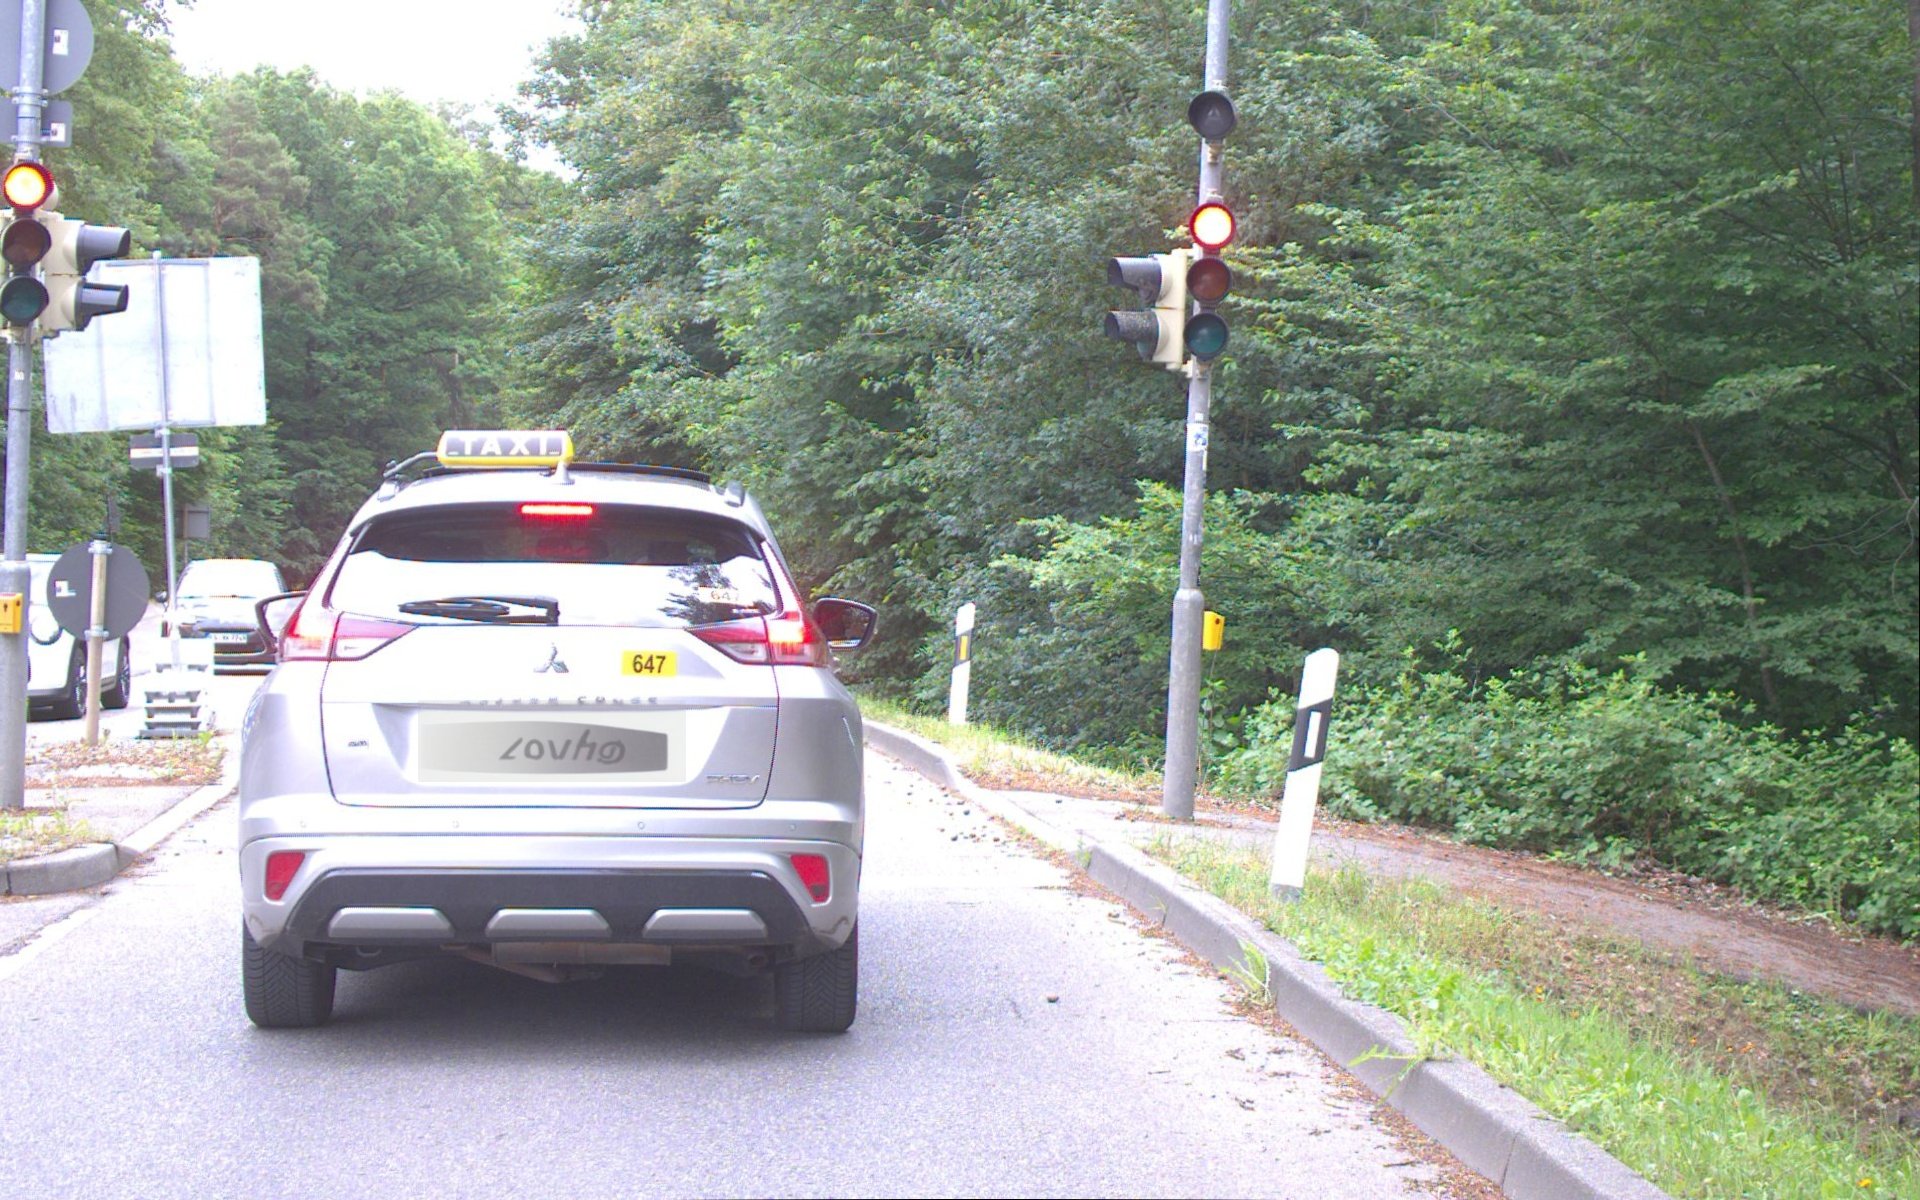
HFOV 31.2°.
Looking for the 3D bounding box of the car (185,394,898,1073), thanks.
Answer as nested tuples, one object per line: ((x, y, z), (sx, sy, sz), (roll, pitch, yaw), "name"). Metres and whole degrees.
((-1.313, 0.319, 11.198), (1.846, 1.774, 4.001), (2, 1, -6), "car")

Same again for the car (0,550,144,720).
((-8.241, 0.276, 29.841), (1.612, 1.317, 3.722), (-1, 2, -4), "car")

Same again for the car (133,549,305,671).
((-9.752, 0.110, 45.470), (1.811, 1.503, 3.722), (-1, 1, -6), "car")
